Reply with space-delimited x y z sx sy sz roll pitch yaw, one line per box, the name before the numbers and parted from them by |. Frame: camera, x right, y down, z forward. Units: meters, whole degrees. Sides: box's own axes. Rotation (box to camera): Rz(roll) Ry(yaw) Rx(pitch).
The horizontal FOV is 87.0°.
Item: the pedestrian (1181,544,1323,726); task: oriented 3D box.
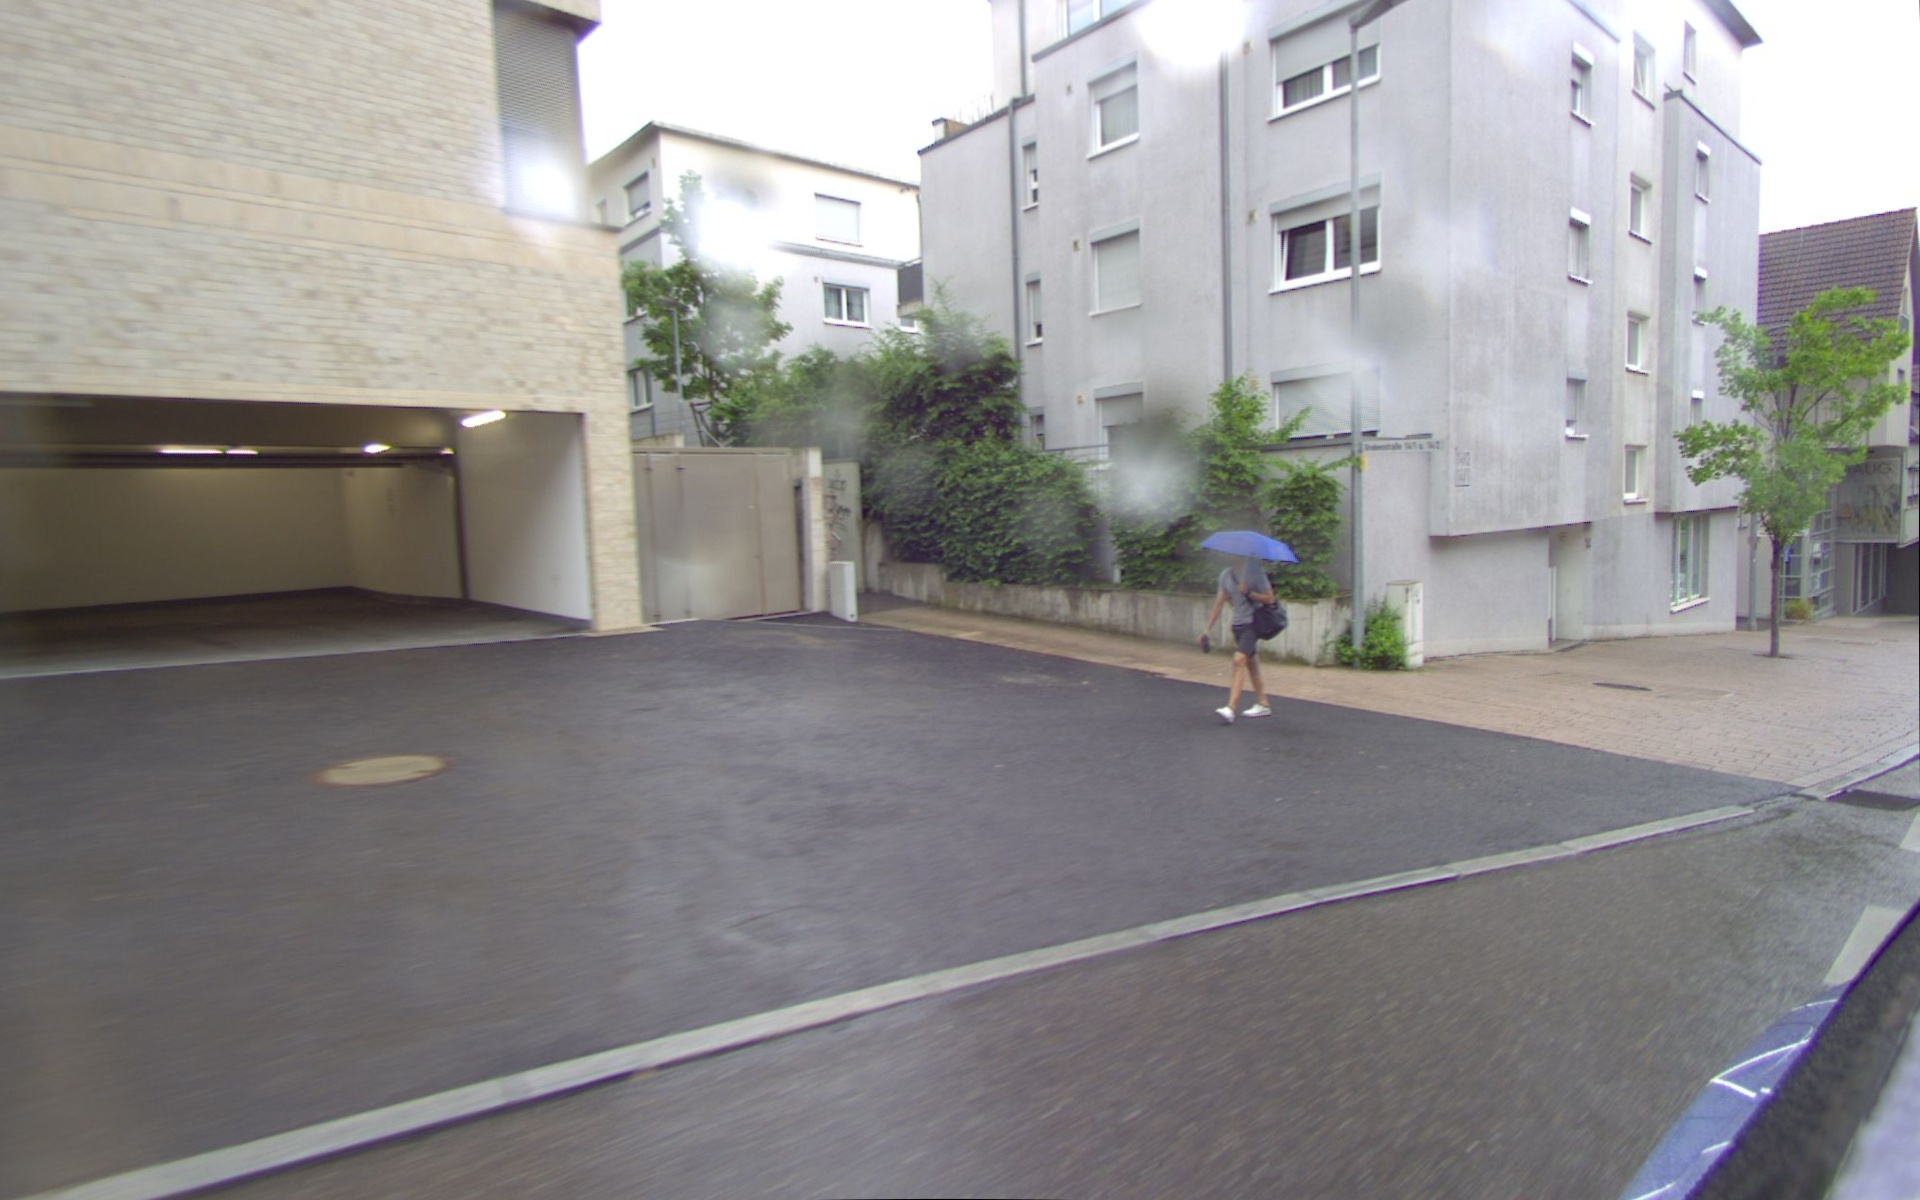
pedestrian | 2.728 0.287 9.459 1.019 1.560 0.738 -1 5 -38
